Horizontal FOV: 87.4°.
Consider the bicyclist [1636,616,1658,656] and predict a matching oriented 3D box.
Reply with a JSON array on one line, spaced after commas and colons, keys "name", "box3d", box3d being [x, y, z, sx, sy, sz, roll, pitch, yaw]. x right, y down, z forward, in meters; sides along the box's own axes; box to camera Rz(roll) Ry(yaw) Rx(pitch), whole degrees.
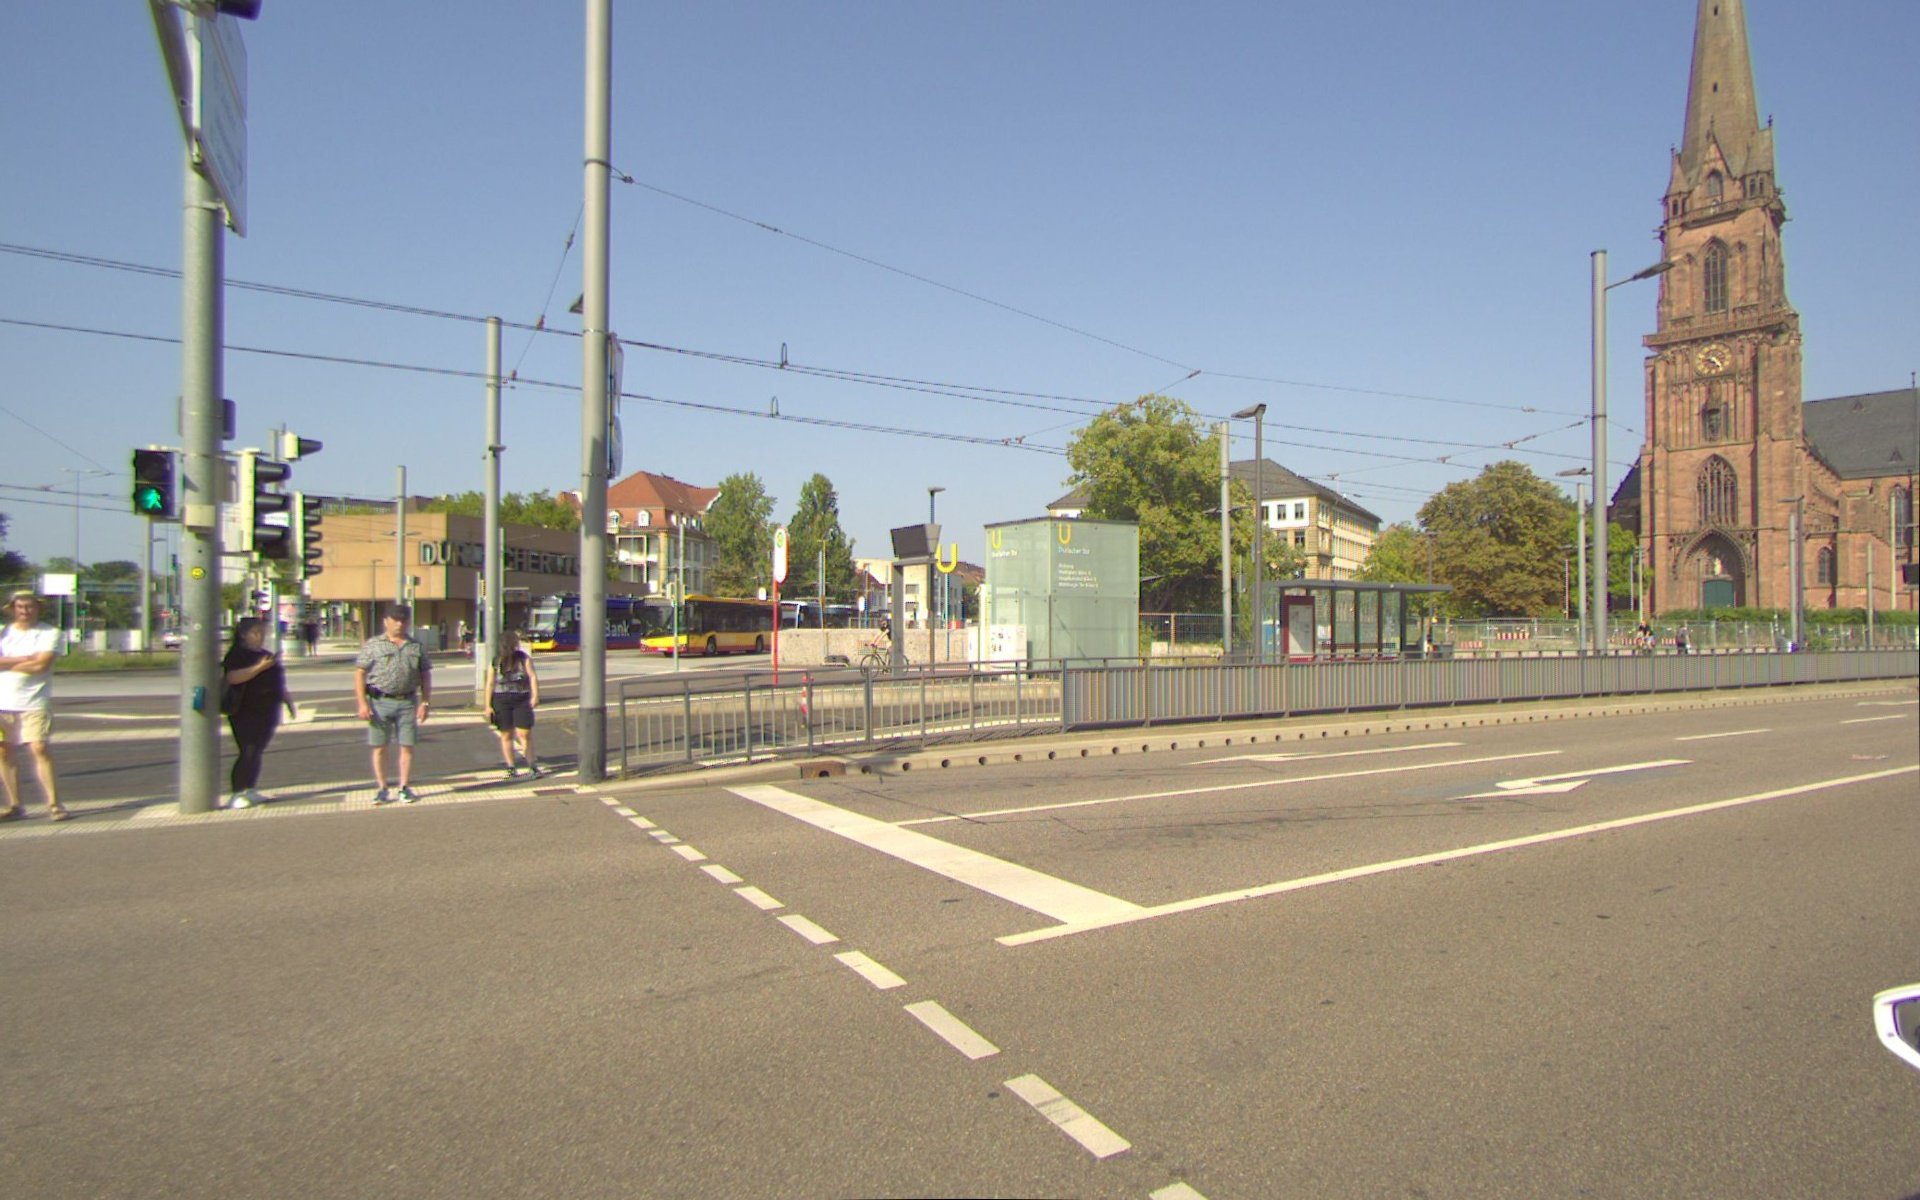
[{"name": "bicyclist", "box3d": [31.109, 1.618, 45.482, 0.810, 1.770, 0.484, 1, -1, -31]}]

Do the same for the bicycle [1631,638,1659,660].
[{"name": "bicycle", "box3d": [31.020, 2.213, 45.479, 1.676, 0.966, 0.348, 1, -2, -31]}]

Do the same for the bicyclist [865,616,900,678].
[{"name": "bicyclist", "box3d": [-2.127, 1.273, 27.626, 0.781, 1.678, 0.584, 1, -2, -31]}]

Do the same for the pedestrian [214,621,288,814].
[{"name": "pedestrian", "box3d": [-6.230, 1.010, 8.848, 0.463, 1.618, 0.629, 1, -4, -32]}]

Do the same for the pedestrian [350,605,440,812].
[{"name": "pedestrian", "box3d": [-4.968, 0.927, 8.846, 0.644, 1.714, 0.810, 1, -4, -30]}]

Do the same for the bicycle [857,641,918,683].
[{"name": "bicycle", "box3d": [-1.992, 1.690, 27.731, 1.727, 1.124, 0.399, 1, -2, -33]}]

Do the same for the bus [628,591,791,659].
[{"name": "bus", "box3d": [-12.943, 1.365, 53.929, 3.159, 3.220, 13.326, 0, -2, 11]}]

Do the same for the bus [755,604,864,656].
[{"name": "bus", "box3d": [-9.925, 2.050, 68.649, 3.159, 3.220, 13.326, 0, -2, 11]}]

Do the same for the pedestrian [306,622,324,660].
[{"name": "pedestrian", "box3d": [-30.541, 1.923, 47.547, 0.395, 1.792, 0.559, 0, -1, 15]}]

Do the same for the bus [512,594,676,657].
[{"name": "bus", "box3d": [-22.040, 1.572, 61.880, 3.159, 3.464, 13.326, 0, -2, 11]}]

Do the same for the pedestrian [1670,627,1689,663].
[{"name": "pedestrian", "box3d": [35.536, 2.213, 49.618, 0.657, 1.723, 0.514, 1, -1, -32]}]

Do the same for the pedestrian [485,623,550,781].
[{"name": "pedestrian", "box3d": [-4.646, 1.049, 10.527, 0.541, 1.568, 0.804, 1, -4, -29]}]

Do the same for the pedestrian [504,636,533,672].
[{"name": "pedestrian", "box3d": [-15.946, 1.947, 36.298, 0.752, 1.309, 0.558, 0, -1, 12]}]

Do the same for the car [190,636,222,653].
[{"name": "car", "box3d": [-66.162, 3.871, 88.181, 1.473, 1.470, 3.502, 0, -2, -25]}]

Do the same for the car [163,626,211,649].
[{"name": "car", "box3d": [-52.895, 2.524, 68.838, 1.758, 1.528, 3.976, 1, -2, -25]}]

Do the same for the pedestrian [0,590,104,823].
[{"name": "pedestrian", "box3d": [-7.634, 0.854, 8.201, 0.718, 1.811, 0.831, 0, -4, -23]}]
